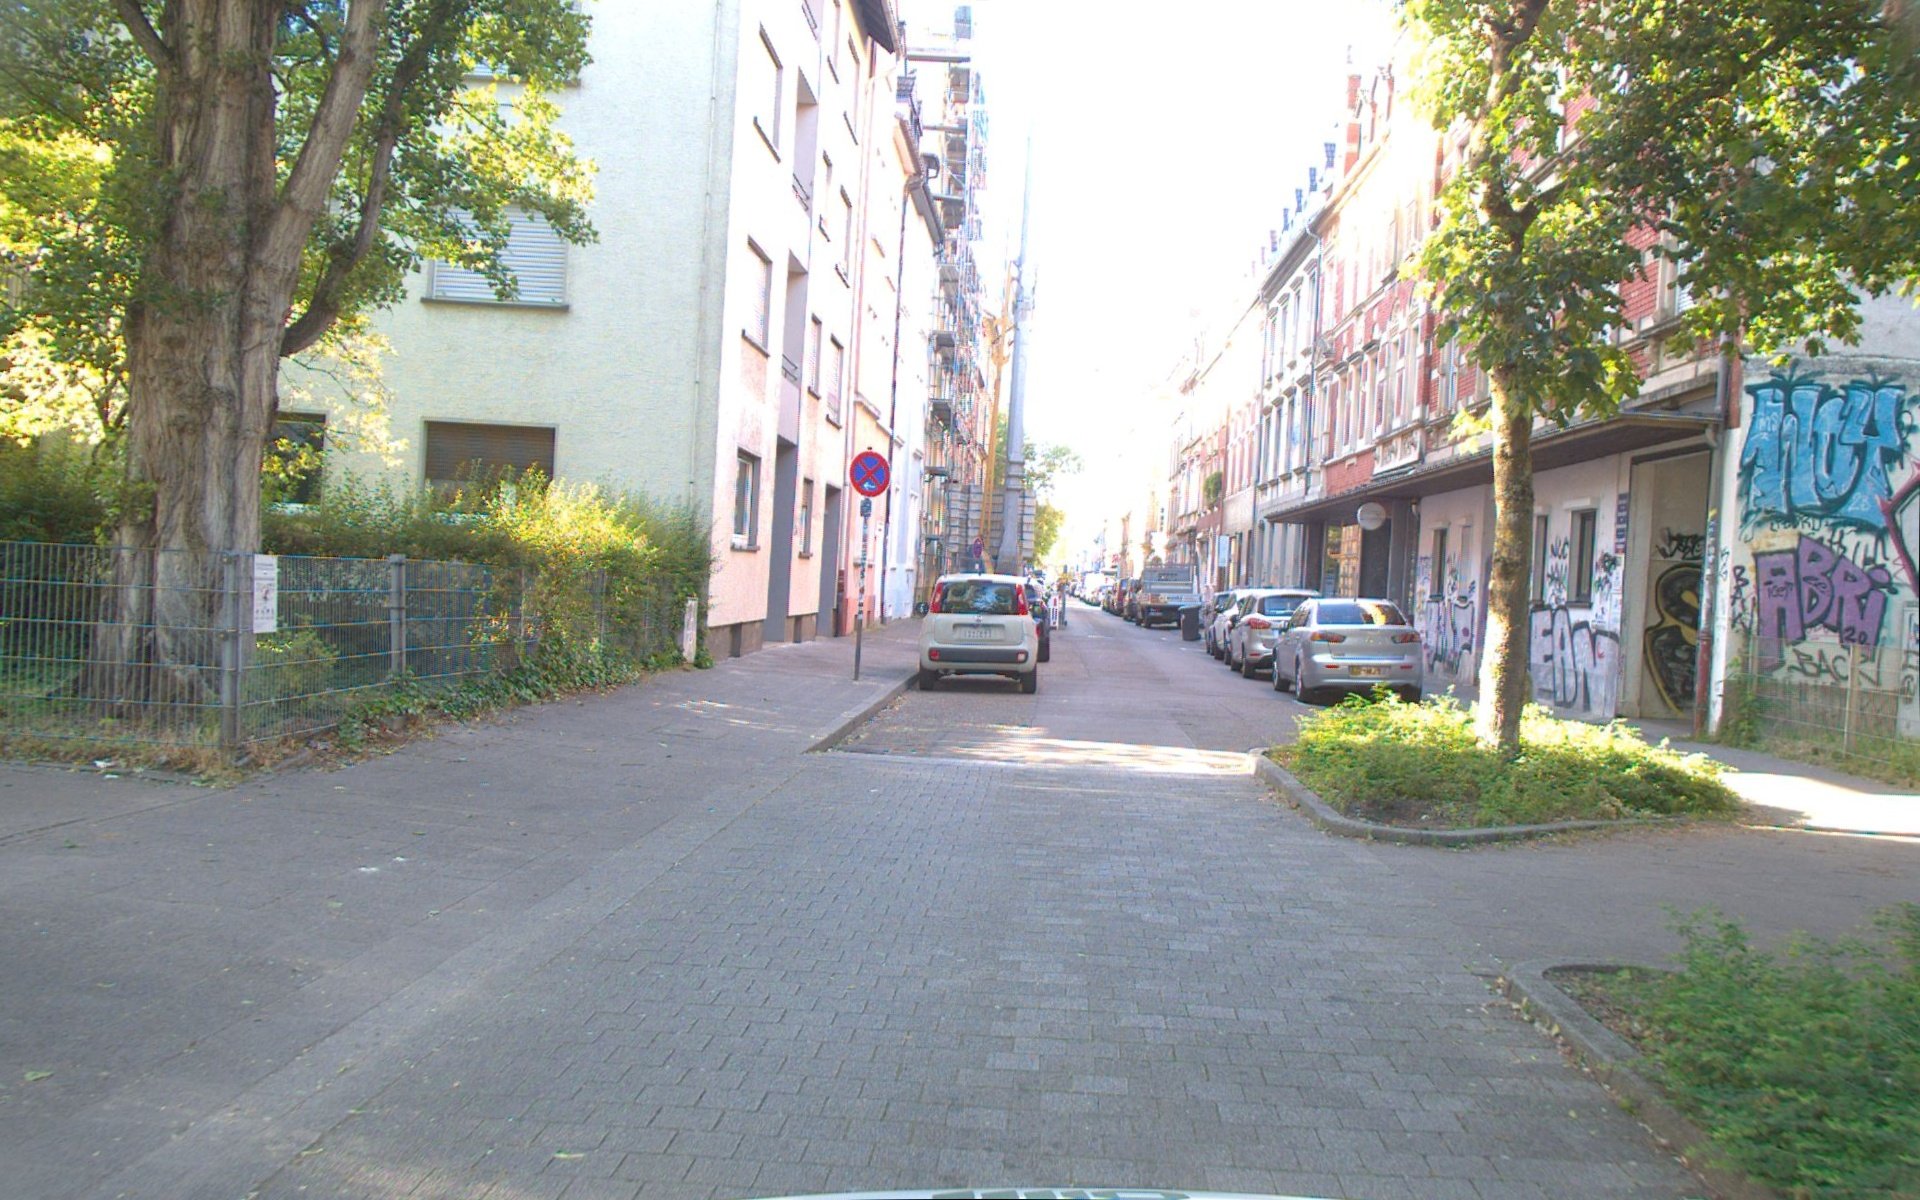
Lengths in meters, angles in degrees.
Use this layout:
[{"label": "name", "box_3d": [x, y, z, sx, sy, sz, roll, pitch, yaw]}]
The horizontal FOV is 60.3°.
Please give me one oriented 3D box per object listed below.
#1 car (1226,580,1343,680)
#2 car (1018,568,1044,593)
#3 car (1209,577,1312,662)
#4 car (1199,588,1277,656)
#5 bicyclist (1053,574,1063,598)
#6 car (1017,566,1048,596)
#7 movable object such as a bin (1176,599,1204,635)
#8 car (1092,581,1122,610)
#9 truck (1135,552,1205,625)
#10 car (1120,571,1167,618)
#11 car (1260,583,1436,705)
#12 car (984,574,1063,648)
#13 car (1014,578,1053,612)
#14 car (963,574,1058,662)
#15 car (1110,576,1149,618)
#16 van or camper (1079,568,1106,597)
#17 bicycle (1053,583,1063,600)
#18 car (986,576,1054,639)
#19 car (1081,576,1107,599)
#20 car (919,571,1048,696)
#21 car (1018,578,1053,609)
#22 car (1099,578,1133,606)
[{"label": "car", "box_3d": [6.014, 0.518, 31.045, 1.606, 1.685, 3.871, 3, 1, 4]}, {"label": "car", "box_3d": [5.526, -1.543, 129.612, 1.952, 1.881, 4.001, 2, 1, 2]}, {"label": "car", "box_3d": [6.580, 0.395, 36.569, 1.710, 1.704, 4.343, 2, 1, 4]}, {"label": "car", "box_3d": [6.989, 0.519, 41.882, 1.563, 1.587, 3.816, 2, 1, 5]}, {"label": "bicyclist", "box_3d": [7.569, -1.067, 127.528, 0.715, 1.792, 0.836, 1, 0, 3]}, {"label": "car", "box_3d": [4.151, -1.095, 95.281, 1.640, 1.598, 3.870, 2, 1, 1]}, {"label": "movable object such as a bin", "box_3d": [7.184, 0.526, 51.656, 0.778, 1.074, 0.660, 3, 1, 3]}, {"label": "car", "box_3d": [11.099, -0.389, 124.760, 1.952, 2.048, 4.001, 2, 1, 2]}, {"label": "truck", "box_3d": [8.042, -0.466, 63.887, 2.144, 2.652, 5.236, 2, 1, 2]}, {"label": "car", "box_3d": [8.230, -0.274, 74.400, 1.640, 1.997, 4.109, 2, 0, 1]}, {"label": "car", "box_3d": [5.726, 0.585, 24.898, 1.685, 1.589, 4.399, 3, 1, 2]}, {"label": "car", "box_3d": [1.485, 0.220, 38.034, 1.640, 1.538, 4.416, 2, 1, 3]}, {"label": "car", "box_3d": [3.373, -0.246, 76.301, 1.640, 1.470, 3.870, 2, 1, 1]}, {"label": "car", "box_3d": [0.951, 0.309, 32.421, 1.693, 1.566, 4.378, 1, 1, 1]}, {"label": "car", "box_3d": [8.881, -0.175, 86.883, 1.640, 2.066, 3.870, 2, 0, 1]}, {"label": "van or camper", "box_3d": [12.273, -1.638, 153.362, 1.953, 2.552, 4.201, 2, 1, -1]}, {"label": "bicycle", "box_3d": [7.554, -0.673, 127.540, 0.709, 1.207, 2.043, 4, 2, 3]}, {"label": "car", "box_3d": [1.613, 0.169, 43.839, 1.640, 1.503, 4.610, 2, 1, 3]}, {"label": "car", "box_3d": [11.273, -1.085, 139.214, 1.952, 1.881, 4.001, 2, 1, 2]}, {"label": "car", "box_3d": [0.332, 0.420, 23.377, 1.640, 1.566, 3.870, 2, 1, 1]}, {"label": "car", "box_3d": [3.860, -0.357, 85.108, 1.640, 1.470, 3.870, 2, 1, 1]}, {"label": "car", "box_3d": [9.435, -0.479, 100.174, 1.640, 1.598, 3.870, 2, 1, 1]}]
